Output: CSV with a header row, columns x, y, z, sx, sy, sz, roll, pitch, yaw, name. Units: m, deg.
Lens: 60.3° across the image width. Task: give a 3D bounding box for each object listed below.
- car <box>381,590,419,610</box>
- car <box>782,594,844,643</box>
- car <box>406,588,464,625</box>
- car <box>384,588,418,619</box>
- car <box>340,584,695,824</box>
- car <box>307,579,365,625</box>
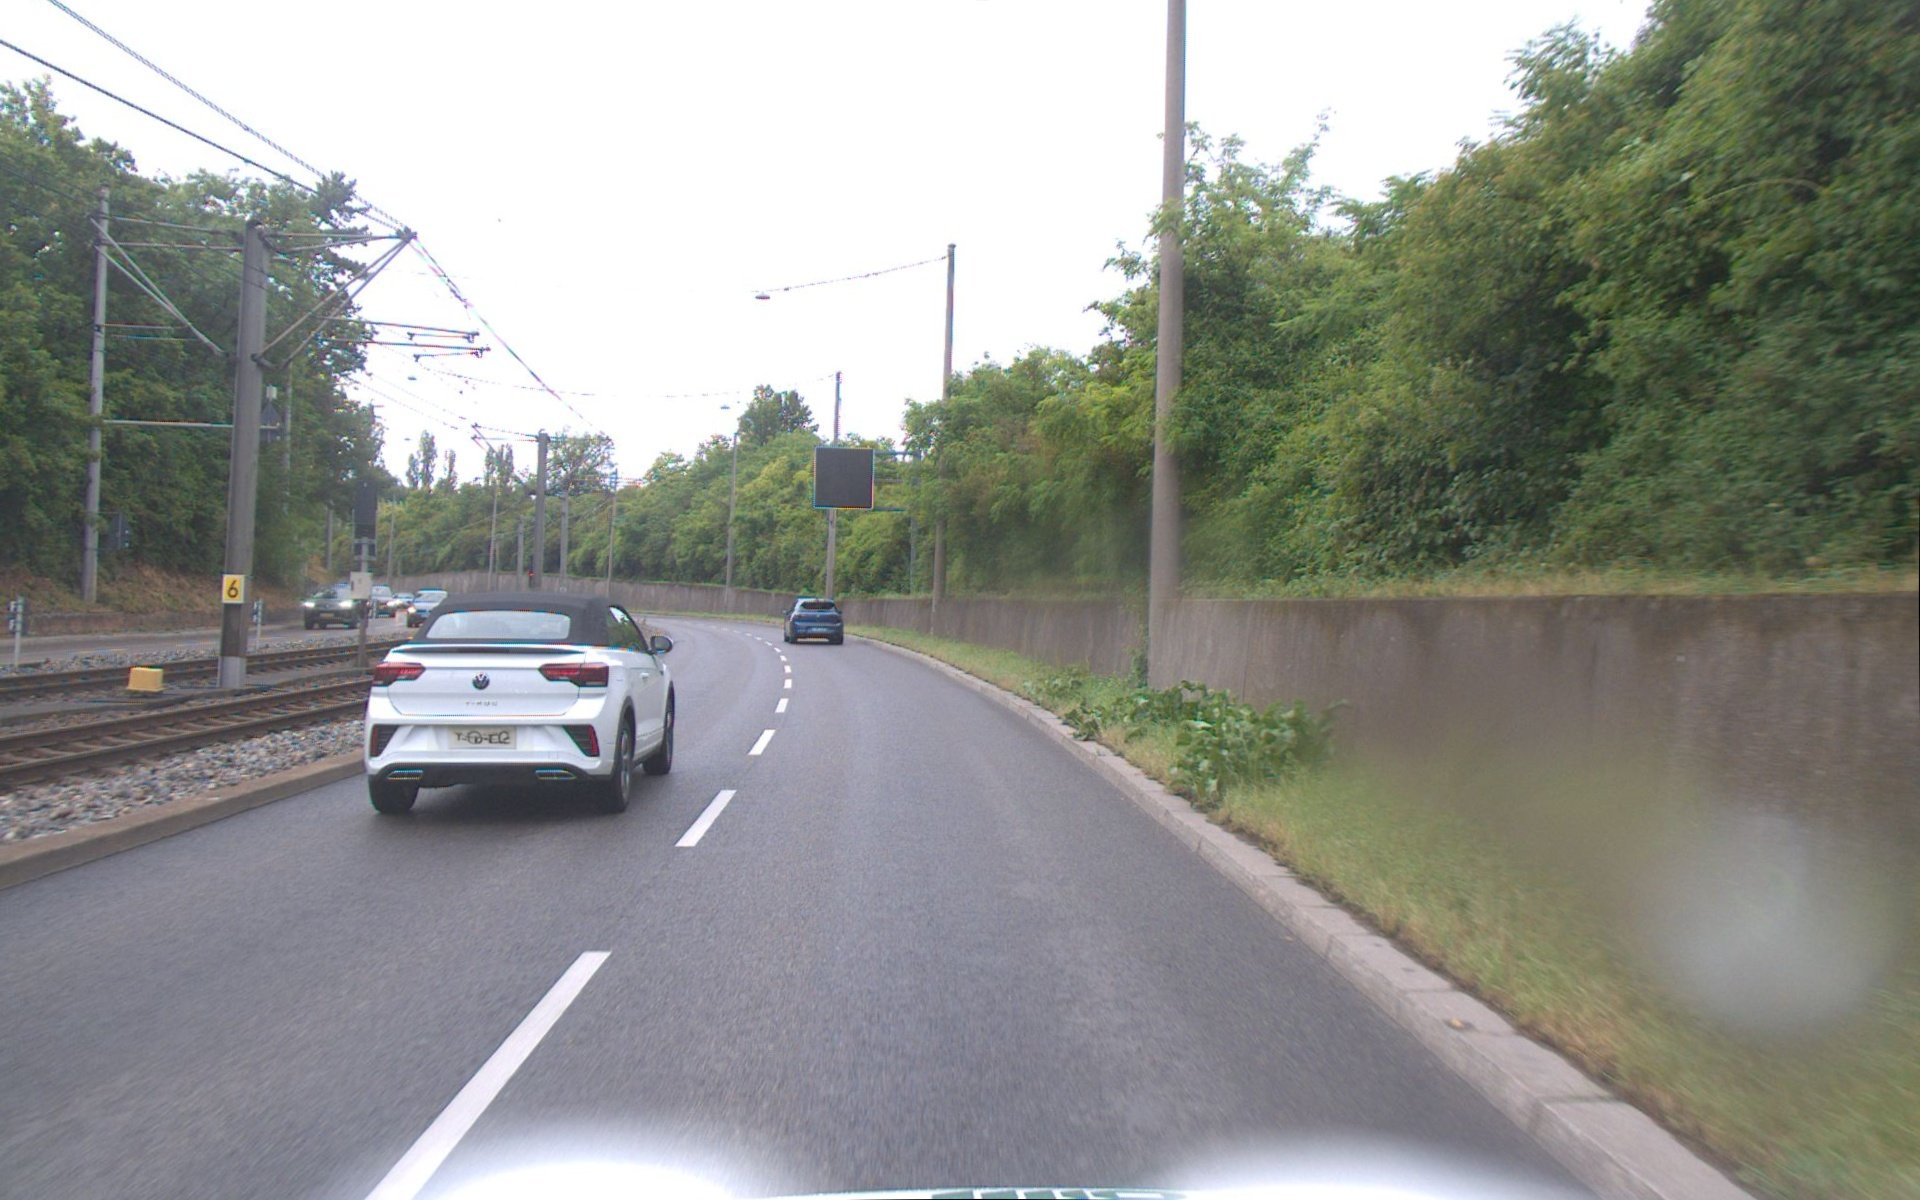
x,y,z,sx,sy,sz,roll,pitch,yaw,name
-37.524,-0.017,110.793,1.530,1.280,3.913,-1,0,-33,car
-4.879,0.582,54.645,1.731,1.527,3.991,2,0,-9,car
-21.386,0.256,67.500,1.675,1.439,4.022,1,0,-10,car
-30.483,0.189,90.082,1.682,1.636,4.386,0,0,-20,car
-3.230,0.680,13.012,1.834,1.551,4.536,0,0,-4,car
-24.101,0.064,63.955,1.756,1.699,4.717,1,0,-17,car
